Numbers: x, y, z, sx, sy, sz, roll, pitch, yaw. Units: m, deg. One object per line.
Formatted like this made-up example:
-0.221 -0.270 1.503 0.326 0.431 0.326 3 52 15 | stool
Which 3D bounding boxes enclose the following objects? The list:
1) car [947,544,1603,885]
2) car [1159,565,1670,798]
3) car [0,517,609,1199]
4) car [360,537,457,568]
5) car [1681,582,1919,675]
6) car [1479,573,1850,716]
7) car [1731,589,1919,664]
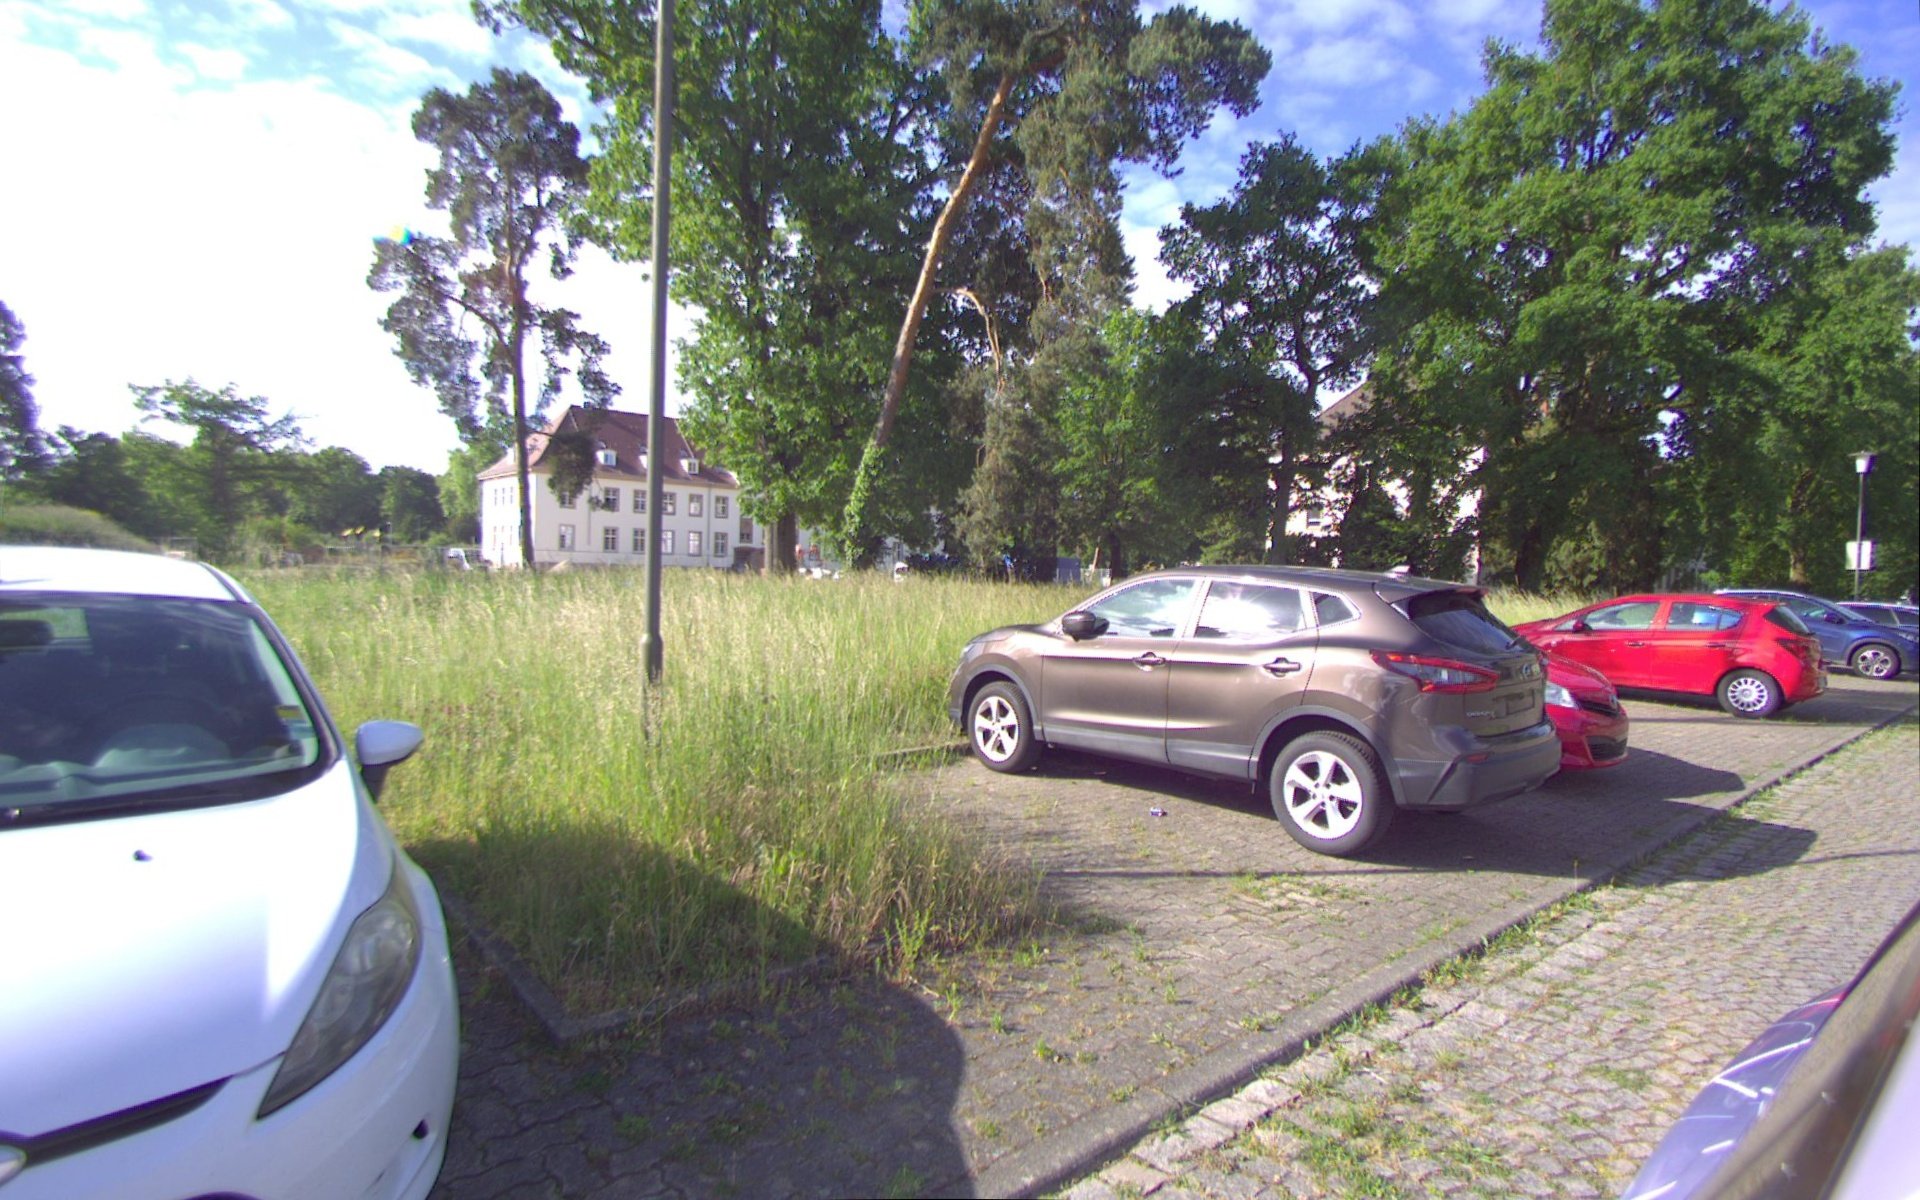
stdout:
1.866 0.475 6.938 1.741 1.641 3.943 0 2 -42 | car
3.783 0.513 8.951 1.616 1.549 3.771 0 2 -40 | car
-2.535 0.541 2.757 1.617 1.506 3.725 0 3 -43 | car
-40.516 -3.484 74.521 5.888 2.198 2.381 0 2 -17 | car
17.221 0.507 20.286 1.721 1.610 4.185 0 2 -41 | car
9.455 0.488 13.816 1.617 1.496 3.835 0 3 -42 | car
20.767 0.599 23.304 1.682 1.425 4.464 1 3 -38 | car
